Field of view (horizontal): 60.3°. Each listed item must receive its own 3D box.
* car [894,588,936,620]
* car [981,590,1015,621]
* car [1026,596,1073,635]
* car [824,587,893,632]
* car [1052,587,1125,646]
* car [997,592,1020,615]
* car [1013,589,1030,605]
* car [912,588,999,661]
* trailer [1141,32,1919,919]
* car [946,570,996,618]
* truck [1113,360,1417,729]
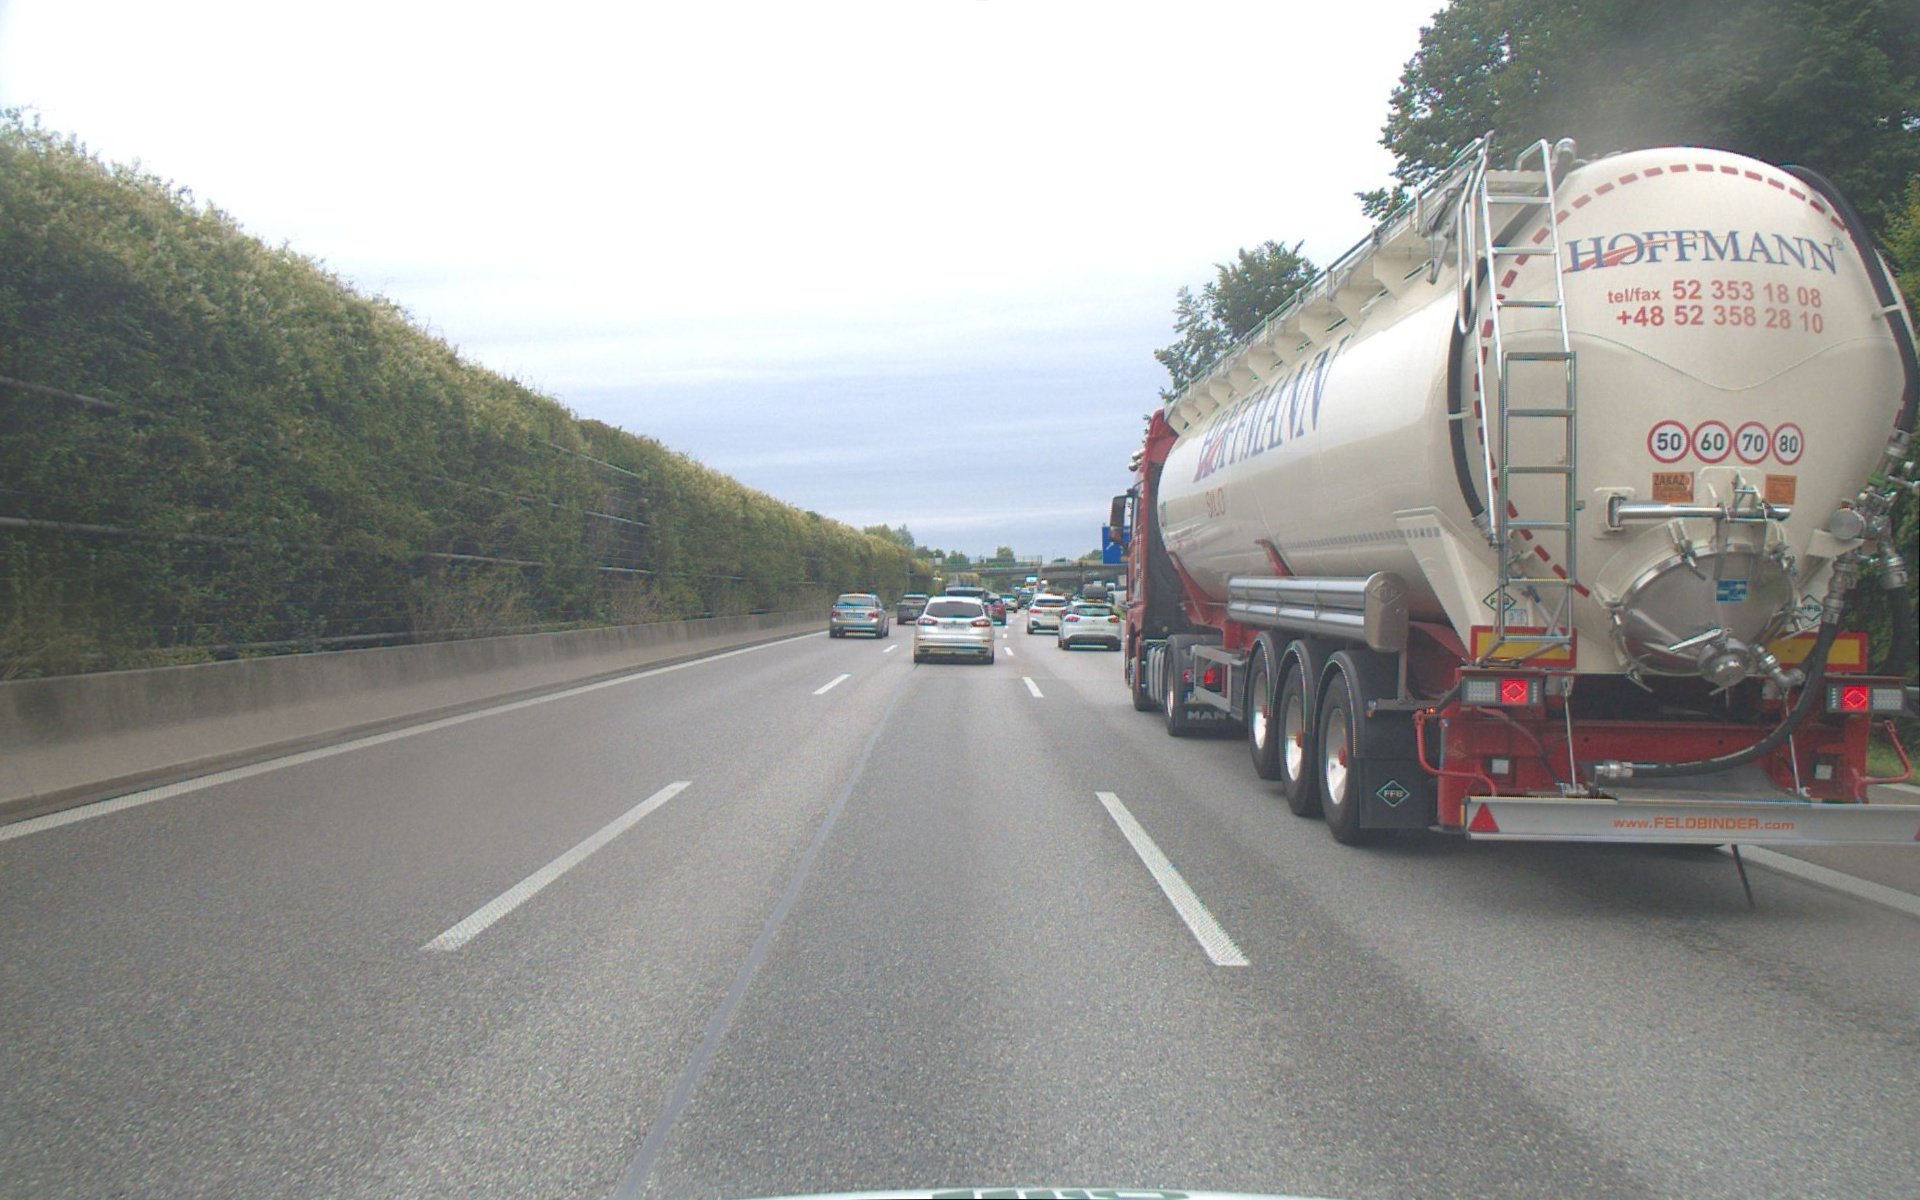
[{"bbox_3d":[-2.186,0.168,82.320,1.684,1.538,5.032,0,0,3],"label":"car"},{"bbox_3d":[1.921,0.277,84.525,1.654,1.533,3.871,1,0,1],"label":"car"},{"bbox_3d":[3.651,0.623,67.850,1.654,1.533,3.870,0,0,-1],"label":"car"},{"bbox_3d":[-3.441,0.356,56.853,1.684,1.495,5.032,0,-1,4],"label":"car"},{"bbox_3d":[3.742,0.454,48.951,1.779,1.654,5.030,0,0,0],"label":"car"},{"bbox_3d":[3.972,0.291,134.134,1.752,1.811,3.873,-1,0,3],"label":"car"},{"bbox_3d":[6.155,-0.332,166.605,1.654,1.566,3.872,0,0,2],"label":"car"},{"bbox_3d":[-0.096,0.522,38.150,1.853,1.530,5.030,1,0,0],"label":"car"},{"bbox_3d":[3.628,-0.532,14.059,2.614,4.008,13.128,0,0,-1],"label":"trailer"},{"bbox_3d":[0.375,-0.256,59.494,1.654,1.532,3.872,4,1,0],"label":"car"},{"bbox_3d":[3.599,-0.584,21.121,2.640,3.981,6.555,0,0,0],"label":"truck"}]
